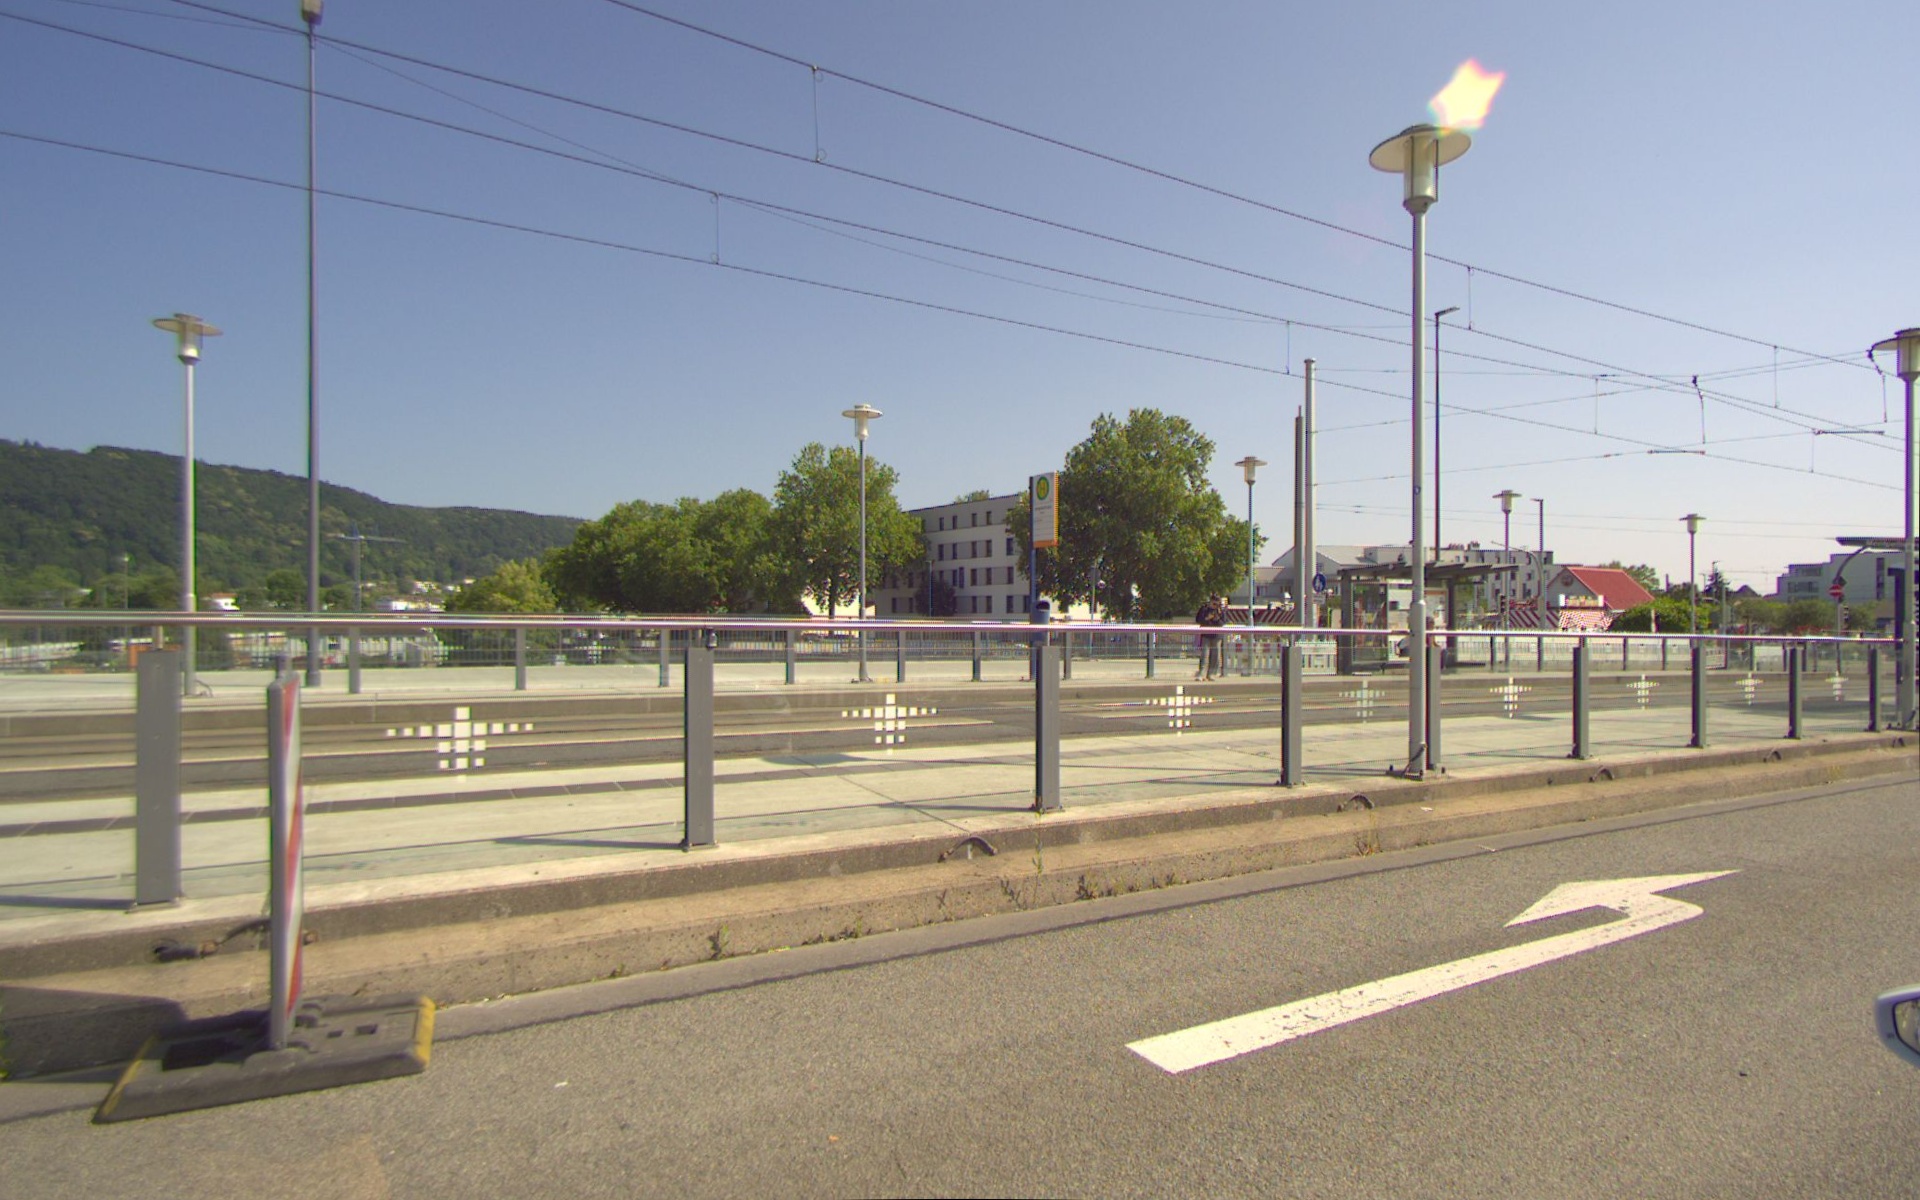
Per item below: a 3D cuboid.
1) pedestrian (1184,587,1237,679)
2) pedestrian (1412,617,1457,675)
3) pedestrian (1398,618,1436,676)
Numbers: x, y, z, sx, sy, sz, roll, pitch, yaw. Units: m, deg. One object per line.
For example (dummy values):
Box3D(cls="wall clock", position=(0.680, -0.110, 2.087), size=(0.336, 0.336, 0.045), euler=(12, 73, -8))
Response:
Box3D(cls="pedestrian", position=(4.675, 0.615, 18.751), size=(0.728, 1.676, 0.659), euler=(0, 0, -19))
Box3D(cls="pedestrian", position=(10.888, 1.052, 23.068), size=(0.688, 1.291, 0.646), euler=(1, 0, -27))
Box3D(cls="pedestrian", position=(10.377, 1.048, 22.803), size=(0.447, 1.291, 0.646), euler=(1, 0, -26))
